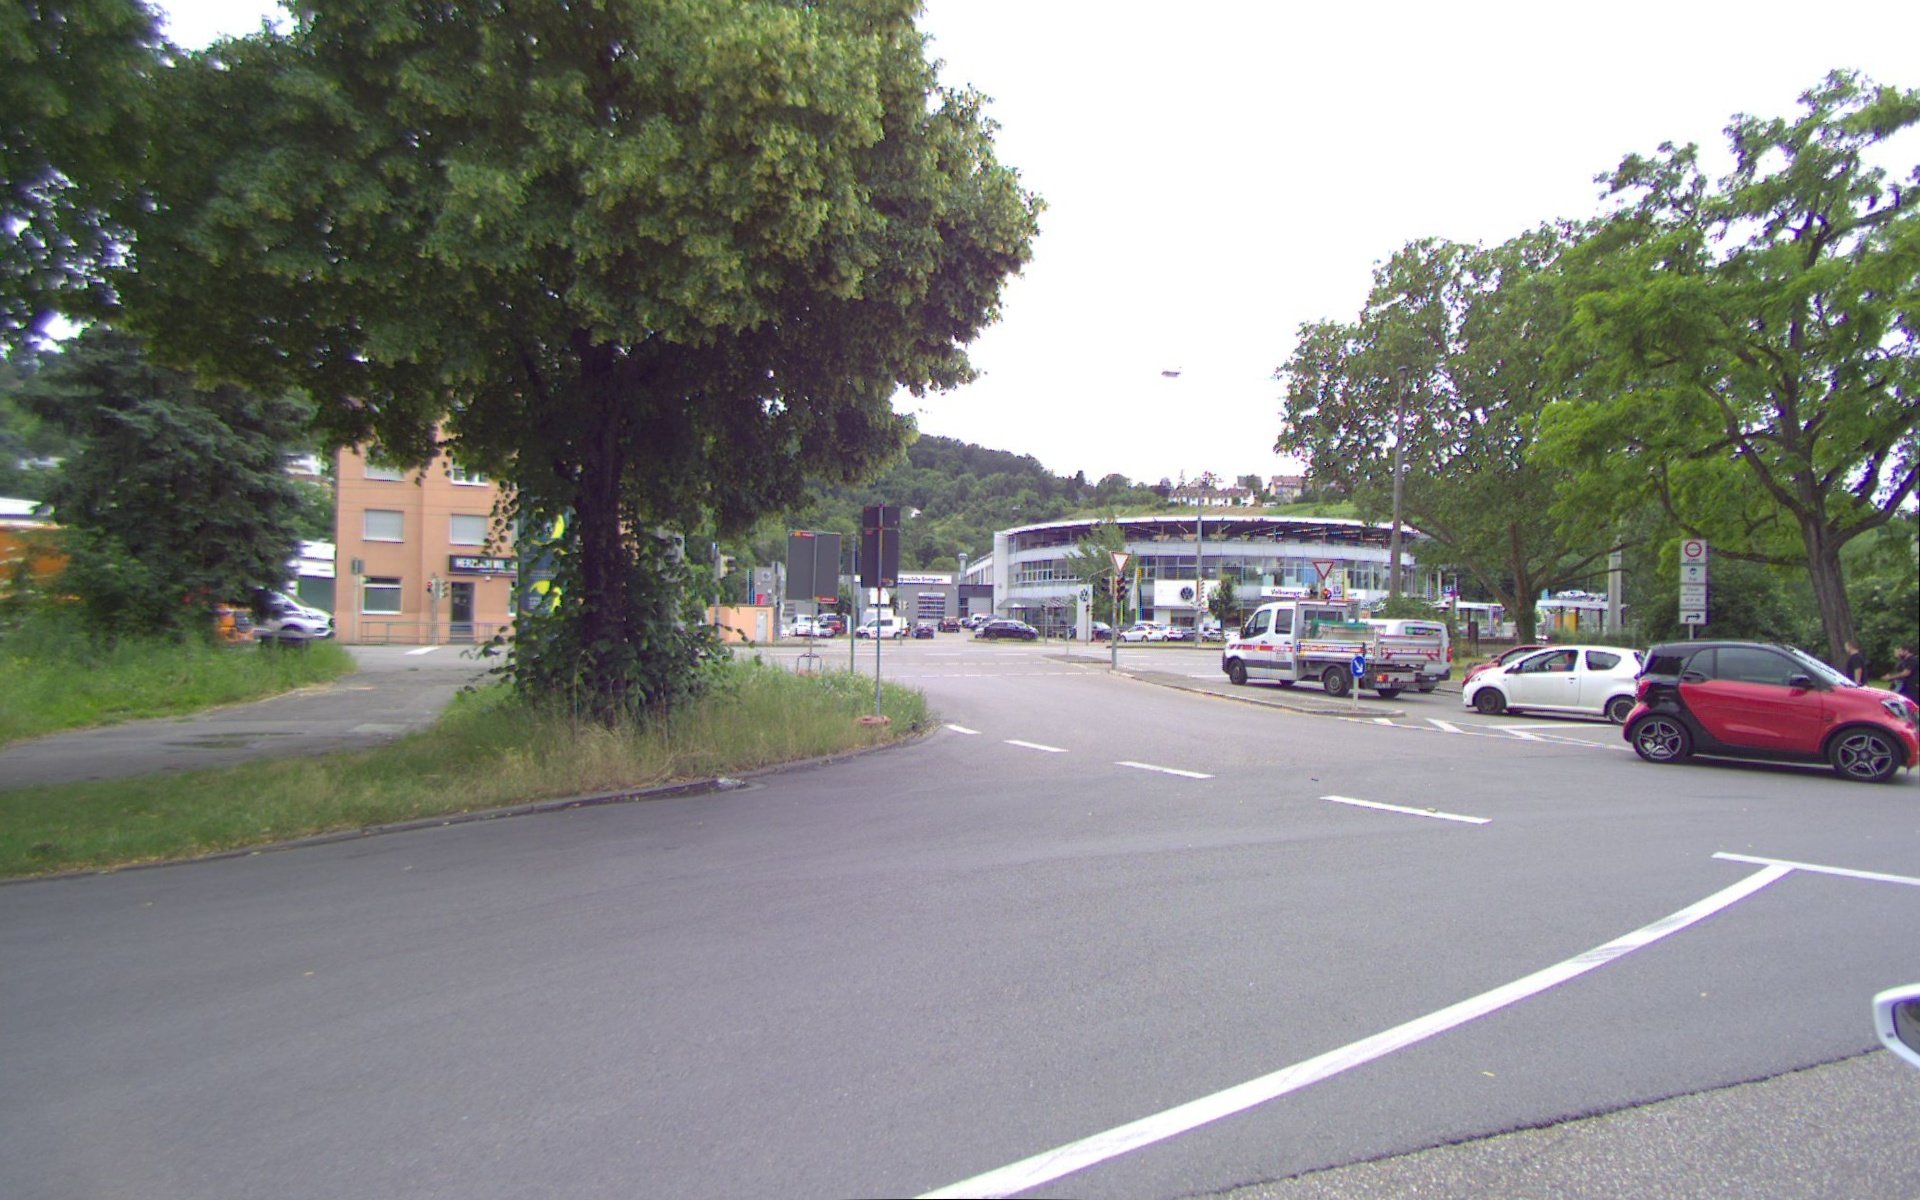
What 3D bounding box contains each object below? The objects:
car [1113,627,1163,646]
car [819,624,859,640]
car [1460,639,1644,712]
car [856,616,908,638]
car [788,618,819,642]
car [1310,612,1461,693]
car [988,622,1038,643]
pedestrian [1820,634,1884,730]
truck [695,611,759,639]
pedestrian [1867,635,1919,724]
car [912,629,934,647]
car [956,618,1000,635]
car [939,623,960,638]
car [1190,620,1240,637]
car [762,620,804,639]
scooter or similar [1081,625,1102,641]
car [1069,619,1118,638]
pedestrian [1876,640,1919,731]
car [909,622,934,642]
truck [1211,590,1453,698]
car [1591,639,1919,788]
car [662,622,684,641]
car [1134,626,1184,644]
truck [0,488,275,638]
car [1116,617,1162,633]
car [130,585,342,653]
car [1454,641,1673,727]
[{"bbox_3d":[15.219,3.104,86.114,1.762,1.520,3.974,2,-1,-41],"label":"car"},{"bbox_3d":[-12.436,3.285,103.502,4.013,1.553,1.774,1,-1,-6],"label":"car"},{"bbox_3d":[13.632,1.708,23.330,1.620,1.476,3.414,2,-2,-21],"label":"car"},{"bbox_3d":[-7.058,2.452,91.104,4.616,1.929,1.774,1,-1,-5],"label":"car"},{"bbox_3d":[-12.875,2.436,82.464,1.837,1.842,4.384,1,-1,-19],"label":"car"},{"bbox_3d":[12.135,1.448,29.052,1.959,2.135,4.757,1,-1,-6],"label":"car"},{"bbox_3d":[4.160,2.509,78.499,3.803,1.520,1.777,1,-1,7],"label":"car"},{"bbox_3d":[17.986,1.633,20.257,0.687,1.882,0.782,1,-1,-29],"label":"pedestrian"},{"bbox_3d":[-20.535,2.192,88.534,5.155,2.425,1.978,2,-1,-38],"label":"truck"},{"bbox_3d":[19.167,1.596,20.510,0.687,1.763,0.782,1,-1,-29],"label":"pedestrian"},{"bbox_3d":[-3.520,3.567,94.822,1.743,1.553,4.086,1,-1,-7],"label":"car"},{"bbox_3d":[2.043,2.943,113.501,4.723,1.827,1.773,1,-1,-8],"label":"car"},{"bbox_3d":[-1.137,3.262,108.871,1.743,1.553,4.086,1,-1,-7],"label":"car"},{"bbox_3d":[23.244,2.594,91.623,1.781,1.511,4.168,2,-1,-38],"label":"car"},{"bbox_3d":[-15.581,2.576,88.396,1.763,1.553,4.038,2,-1,-43],"label":"car"},{"bbox_3d":[10.570,2.646,80.748,1.641,1.193,0.467,1,-1,-3],"label":"scooter or similar"},{"bbox_3d":[11.152,2.398,83.841,1.763,1.520,3.832,2,-1,-43],"label":"car"},{"bbox_3d":[18.741,1.677,19.847,0.687,1.737,0.782,1,-1,-29],"label":"pedestrian"},{"bbox_3d":[-3.651,3.016,94.761,1.964,1.840,3.994,1,-1,-9],"label":"car"},{"bbox_3d":[9.333,1.061,25.926,2.395,2.429,5.995,1,-1,-23],"label":"truck"},{"bbox_3d":[9.575,1.251,12.168,1.706,1.484,2.981,2,-2,-44],"label":"car"},{"bbox_3d":[-25.041,2.740,87.704,1.754,1.539,3.619,1,-1,-14],"label":"car"},{"bbox_3d":[17.267,3.011,87.313,1.781,1.511,4.168,2,-1,-38],"label":"car"},{"bbox_3d":[-24.419,-0.998,26.223,10.268,3.573,2.784,3,-1,-21],"label":"truck"},{"bbox_3d":[17.695,2.450,99.294,4.145,1.511,1.790,0,-1,35],"label":"car"},{"bbox_3d":[-23.427,0.629,32.775,5.221,2.040,1.963,2,0,-20],"label":"car"},{"bbox_3d":[11.809,1.570,19.780,1.632,1.451,3.389,1,-1,-41],"label":"car"}]
